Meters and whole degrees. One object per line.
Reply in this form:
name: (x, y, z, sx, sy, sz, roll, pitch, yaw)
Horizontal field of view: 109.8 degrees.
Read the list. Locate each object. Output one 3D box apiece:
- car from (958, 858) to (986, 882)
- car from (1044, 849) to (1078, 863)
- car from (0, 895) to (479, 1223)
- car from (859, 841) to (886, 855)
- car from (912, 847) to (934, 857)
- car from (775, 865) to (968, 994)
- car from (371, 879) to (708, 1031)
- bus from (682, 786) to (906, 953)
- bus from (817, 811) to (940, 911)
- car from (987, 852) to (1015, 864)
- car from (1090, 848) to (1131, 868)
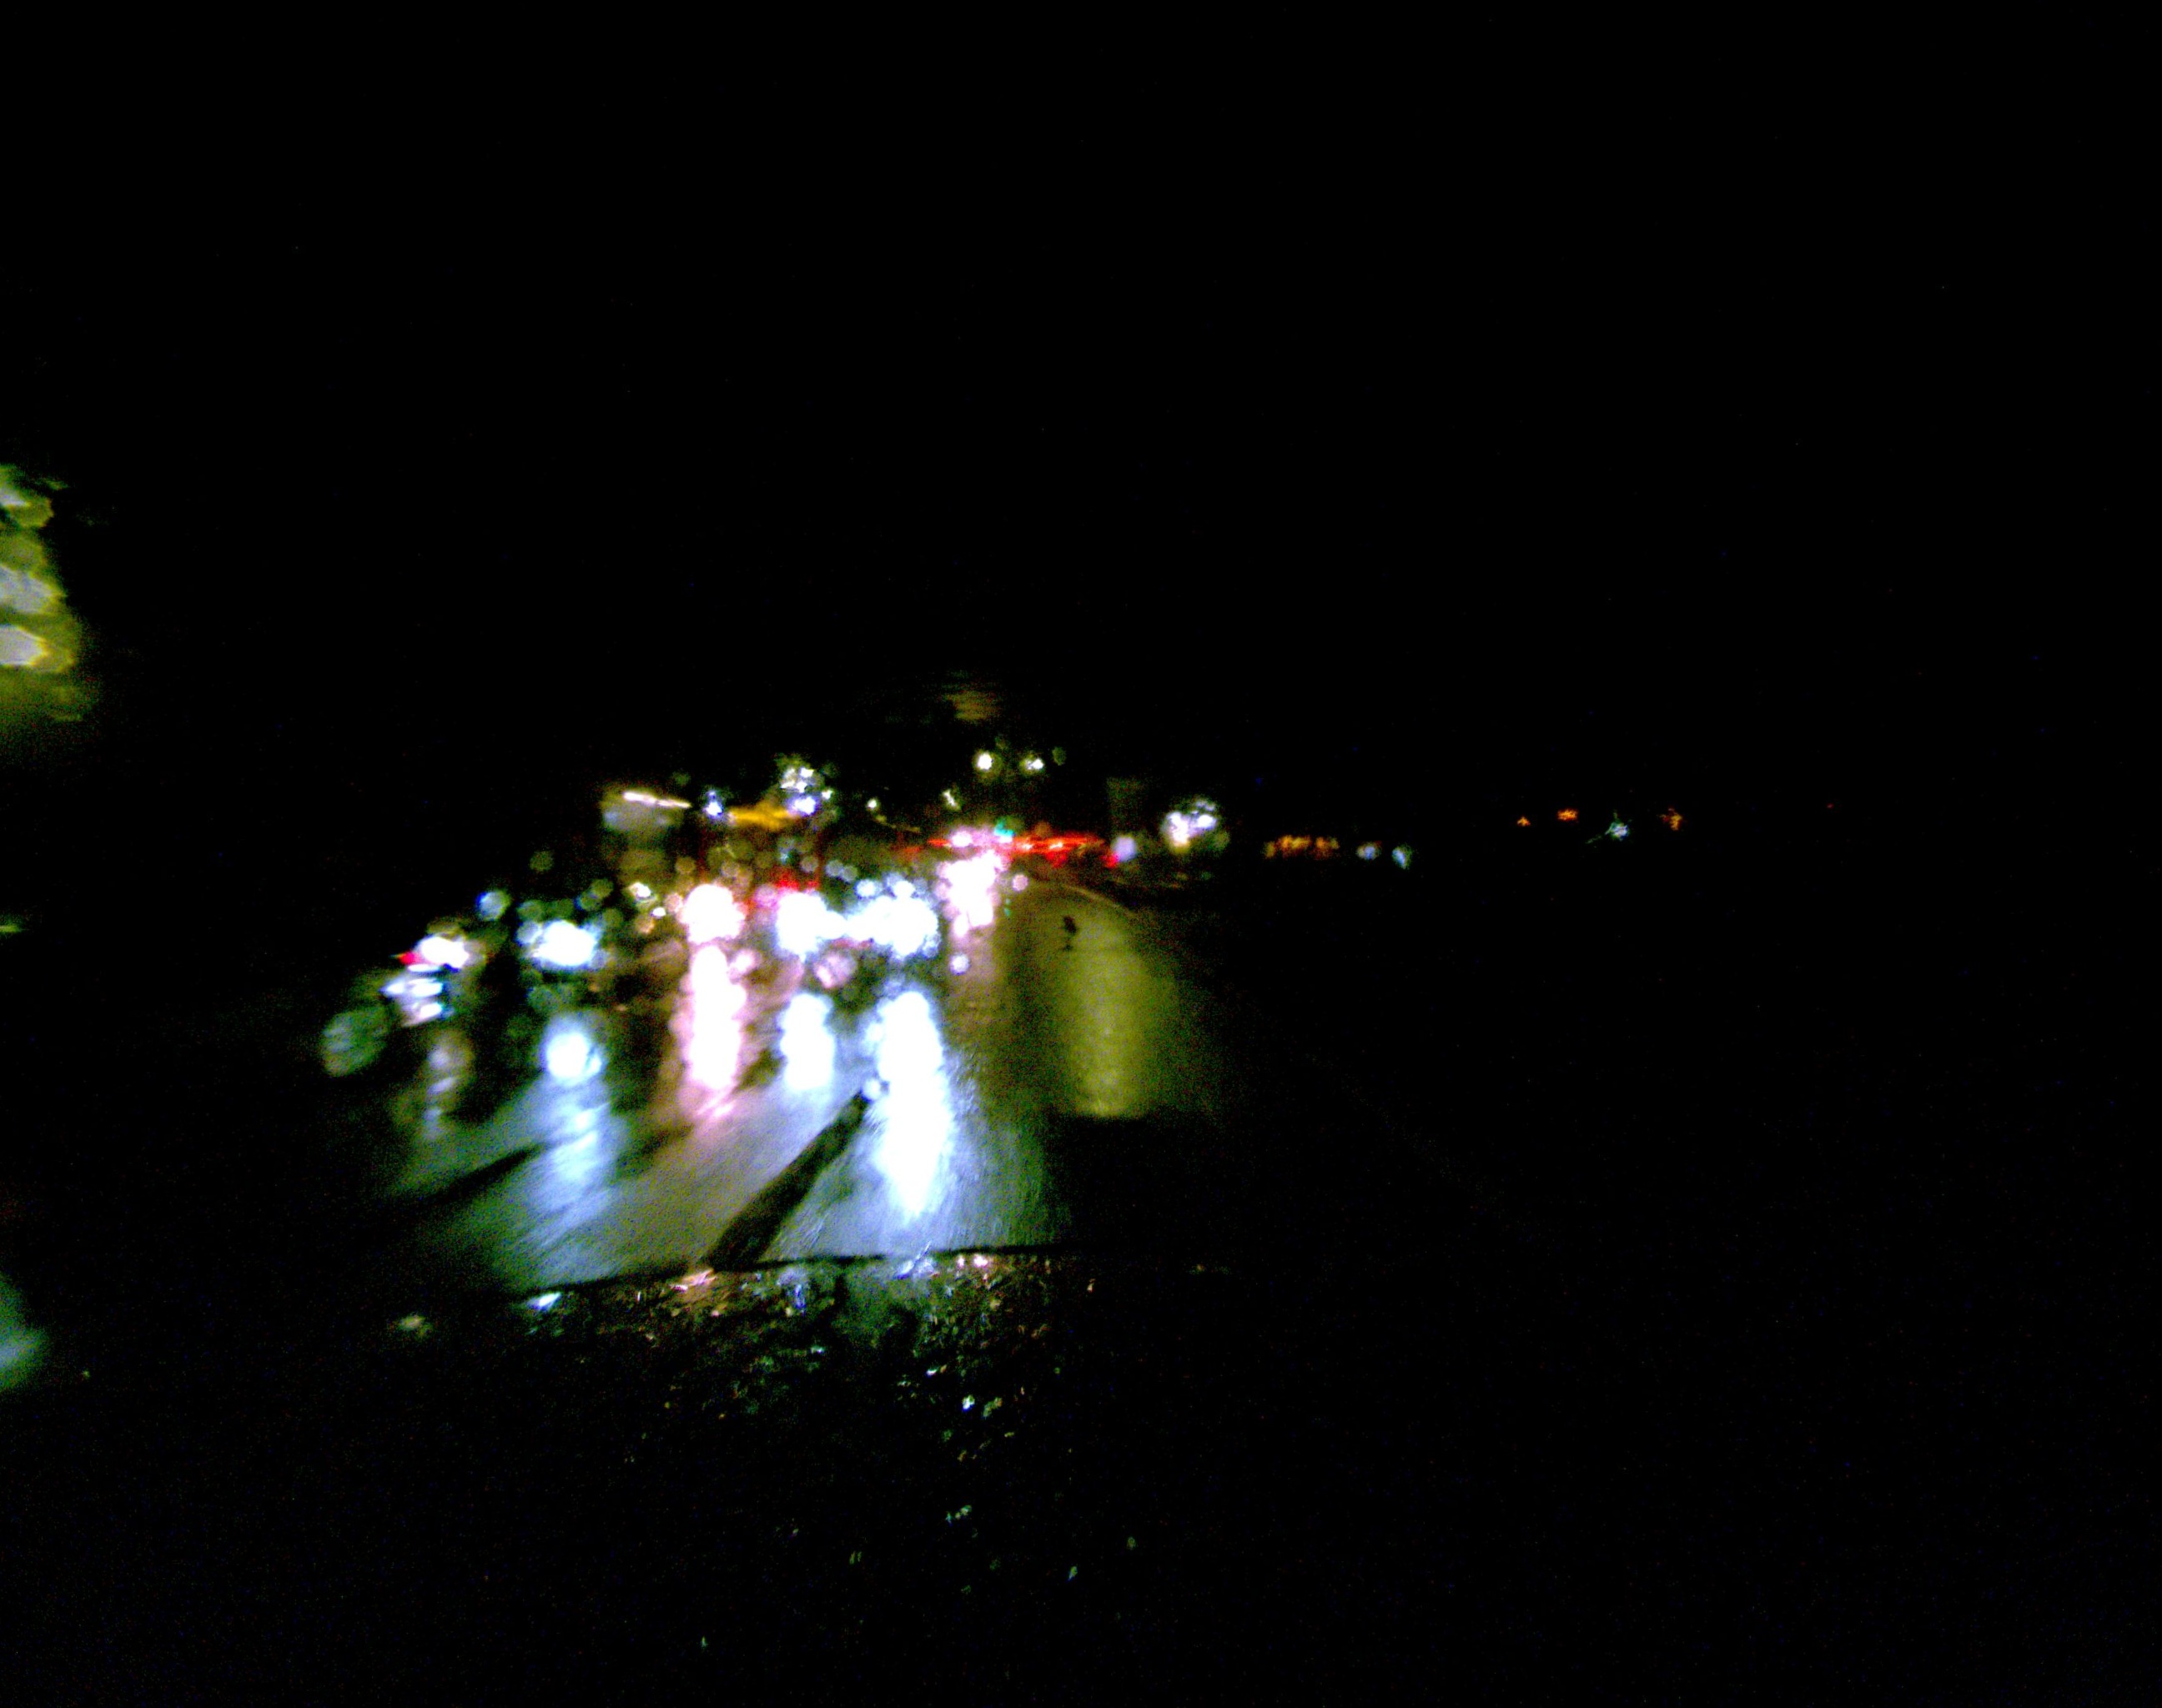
car: (-7.264, 1.031, 50.331, 1.757, 1.438, 3.970, 0, 0, -9)
car: (-2.157, 0.252, 79.747, 1.903, 1.381, 4.602, -2, 1, -24)
car: (-6.322, 1.128, 4.438, 1.724, 1.478, 4.787, 0, 0, 1)
car: (-21.733, -0.570, 79.223, 1.711, 1.382, 3.990, -2, 1, -30)
car: (-23.873, -0.327, 114.705, 1.904, 1.381, 4.830, -2, 1, -28)
car: (-3.051, 1.022, 12.007, 1.724, 1.478, 4.162, -4, 0, 1)
car: (-6.846, 1.159, 10.276, 1.725, 1.478, 4.160, 0, 0, -3)
bus: (-6.813, 0.266, 19.999, 2.741, 3.258, 9.695, -2, 1, -4)
bus: (-7.502, 0.193, 29.649, 2.741, 3.219, 9.695, -2, 1, -4)
car: (-9.919, 0.478, 94.096, 1.903, 1.381, 4.830, -2, 1, -26)
car: (2.361, 0.286, 61.945, 1.603, 1.528, 4.303, -2, 1, -22)
